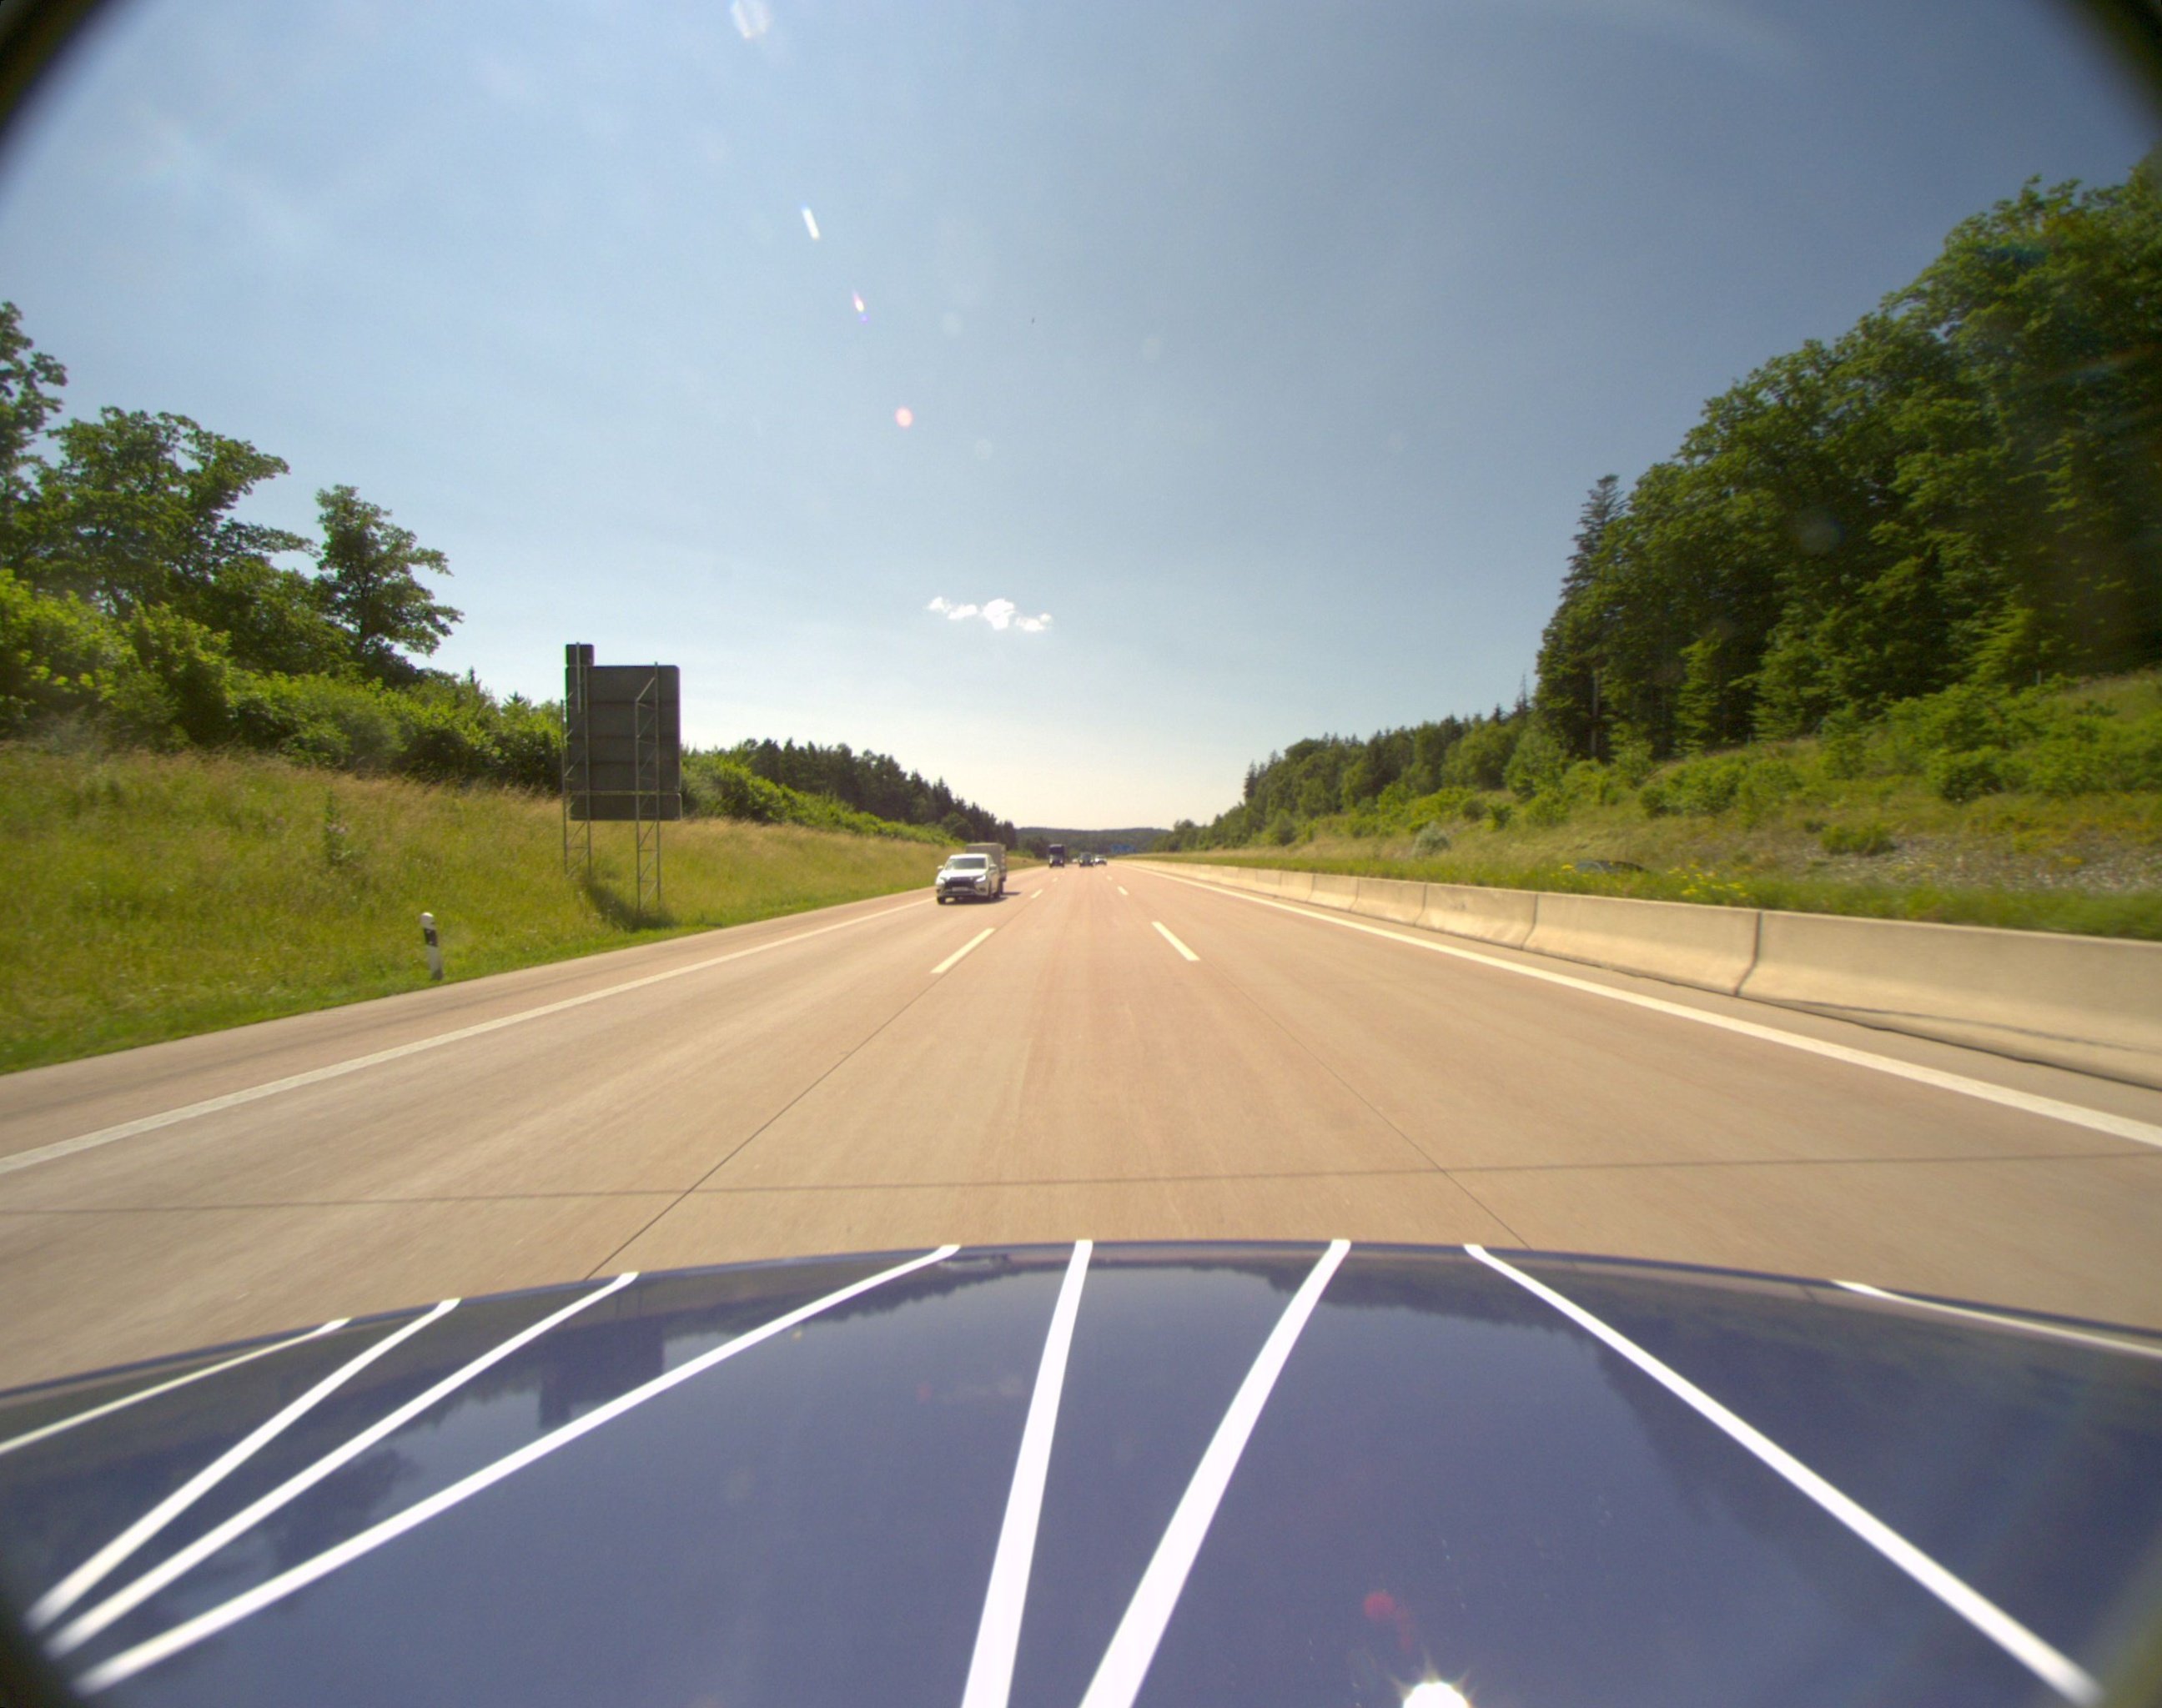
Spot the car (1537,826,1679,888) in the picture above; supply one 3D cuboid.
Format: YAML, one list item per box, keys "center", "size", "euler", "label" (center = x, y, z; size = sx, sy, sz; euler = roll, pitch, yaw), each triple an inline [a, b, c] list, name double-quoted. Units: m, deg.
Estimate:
- center: [19.237, 0.132, 28.041]
  size: [1.896, 2.052, 4.663]
  euler: [-2, -1, -2]
  label: "car"

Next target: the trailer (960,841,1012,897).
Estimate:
- center: [-3.943, 0.594, 32.208]
  size: [1.662, 2.151, 4.016]
  euler: [-2, 0, 0]
  label: "trailer"

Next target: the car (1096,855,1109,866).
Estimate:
- center: [3.403, 1.019, 120.949]
  size: [1.895, 1.718, 4.564]
  euler: [-2, -1, 0]
  label: "car"

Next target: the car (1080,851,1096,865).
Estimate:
- center: [0.939, 0.550, 103.002]
  size: [1.998, 1.805, 4.565]
  euler: [-2, 0, 3]
  label: "car"

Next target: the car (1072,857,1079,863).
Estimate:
- center: [-1.688, 1.992, 246.818]
  size: [1.998, 2.002, 4.000]
  euler: [-2, 0, 0]
  label: "car"

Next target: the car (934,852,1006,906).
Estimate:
- center: [-3.914, 0.808, 27.655]
  size: [1.896, 1.718, 5.185]
  euler: [-2, 0, -1]
  label: "car"

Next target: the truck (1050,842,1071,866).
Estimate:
- center: [-2.825, 0.071, 108.214]
  size: [2.508, 3.199, 7.785]
  euler: [-2, 0, 2]
  label: "truck"
